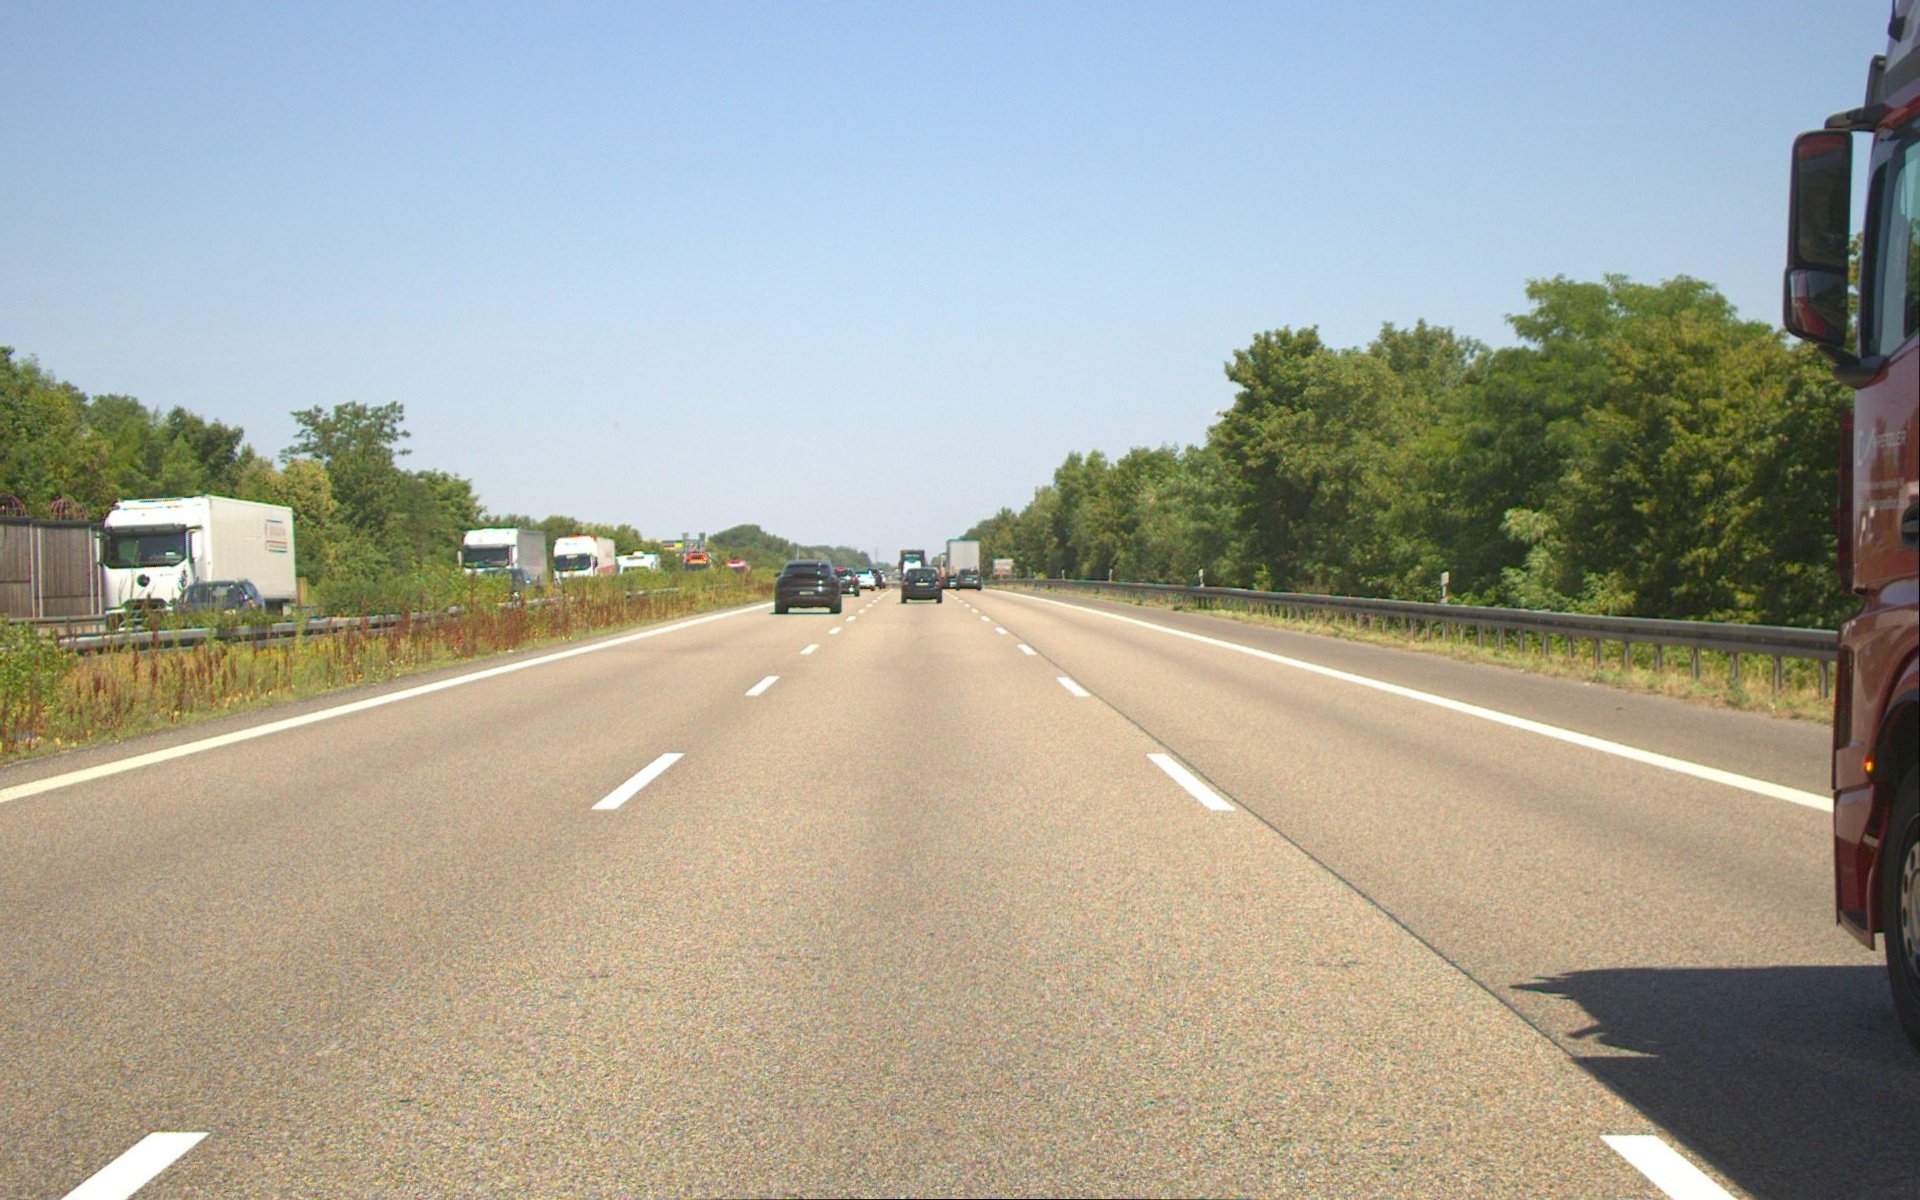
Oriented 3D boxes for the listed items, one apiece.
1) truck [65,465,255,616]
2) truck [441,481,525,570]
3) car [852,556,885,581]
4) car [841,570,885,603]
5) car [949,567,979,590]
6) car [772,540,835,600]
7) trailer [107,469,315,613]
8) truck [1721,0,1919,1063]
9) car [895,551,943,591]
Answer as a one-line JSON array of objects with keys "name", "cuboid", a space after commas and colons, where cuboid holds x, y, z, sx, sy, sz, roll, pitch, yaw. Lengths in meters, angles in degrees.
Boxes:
[{"name": "truck", "cuboid": [-22.878, -1.690, 98.782, 3.581, 4.089, 7.839, -1, 1, 0]}, {"name": "truck", "cuboid": [-24.212, -3.757, 174.996, 3.217, 4.424, 7.871, 0, 1, 0]}, {"name": "car", "cuboid": [-6.234, -2.111, 234.086, 2.128, 1.640, 4.304, -1, 0, 0]}, {"name": "car", "cuboid": [-4.962, -0.722, 177.035, 2.128, 1.640, 4.304, -1, 0, 0]}, {"name": "car", "cuboid": [0.298, -1.576, 251.510, 2.128, 1.578, 4.304, -1, 0, 0]}, {"name": "car", "cuboid": [-4.826, -0.943, 106.462, 1.880, 1.786, 4.001, 0, 2, -2]}, {"name": "trailer", "cuboid": [-22.865, -1.807, 105.792, 3.610, 4.089, 12.797, -1, 1, 0]}, {"name": "truck", "cuboid": [4.430, -1.059, 9.110, 3.234, 4.872, 6.972, 0, 1, 0]}, {"name": "car", "cuboid": [-1.663, -1.182, 139.933, 1.903, 1.578, 4.304, -1, 0, 0]}]
